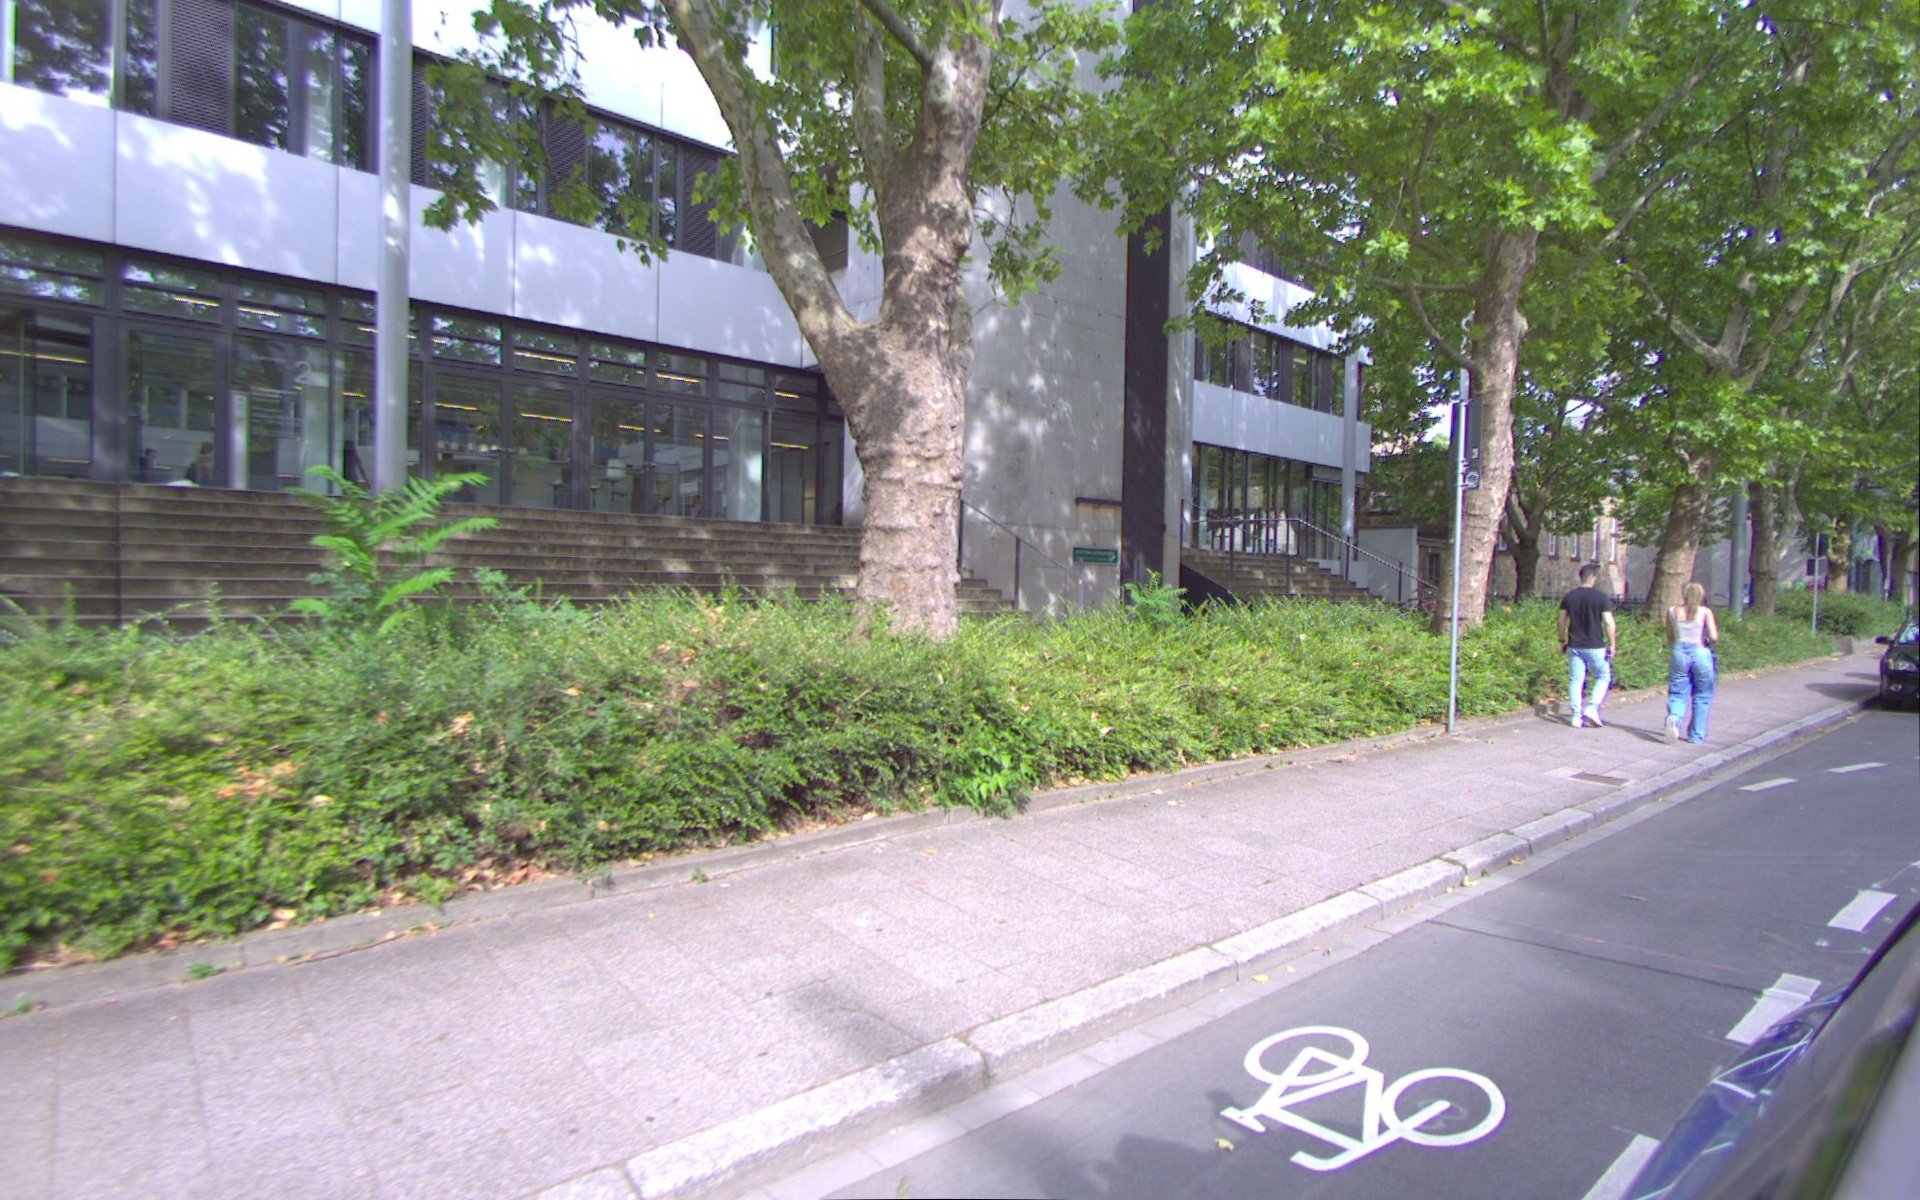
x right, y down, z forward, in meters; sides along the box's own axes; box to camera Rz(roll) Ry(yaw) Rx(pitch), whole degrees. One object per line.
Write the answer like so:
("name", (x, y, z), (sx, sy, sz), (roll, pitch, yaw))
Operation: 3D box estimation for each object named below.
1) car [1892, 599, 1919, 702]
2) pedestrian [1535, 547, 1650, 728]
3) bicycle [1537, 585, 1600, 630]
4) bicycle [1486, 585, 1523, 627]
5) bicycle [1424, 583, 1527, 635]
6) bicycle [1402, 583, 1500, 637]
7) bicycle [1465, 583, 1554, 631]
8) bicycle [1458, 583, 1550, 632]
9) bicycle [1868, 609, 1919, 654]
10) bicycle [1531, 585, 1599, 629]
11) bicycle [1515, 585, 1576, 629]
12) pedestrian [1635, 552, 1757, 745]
("car", (15.423, 0.708, 15.296), (4.348, 1.443, 1.699), (0, 0, -44))
("pedestrian", (6.776, 0.364, 10.832), (1.016, 1.822, 0.716), (0, 3, -42))
("bicycle", (16.688, 0.191, 27.757), (1.378, 1.131, 0.461), (4, 2, 42))
("bicycle", (15.085, 0.152, 28.027), (0.491, 1.131, 1.415), (3, 2, 43))
("bicycle", (12.385, 0.195, 24.356), (0.661, 1.131, 2.083), (0, 2, -40))
("bicycle", (11.383, 0.205, 23.507), (0.661, 1.131, 1.919), (0, 2, -40))
("bicycle", (14.468, 0.165, 26.690), (0.661, 1.131, 1.919), (0, 2, -40))
("bicycle", (13.837, 0.177, 25.781), (0.661, 1.131, 1.919), (0, 2, -40))
("bicycle", (25.202, 0.835, 26.745), (1.763, 1.146, 0.456), (1, 0, 38))
("bicycle", (16.866, 0.183, 28.222), (1.538, 1.131, 0.461), (4, 2, 42))
("bicycle", (15.990, 0.176, 27.655), (1.374, 1.131, 0.505), (3, 2, 35))
("pedestrian", (7.387, 0.443, 10.154), (1.016, 1.805, 0.712), (0, 3, -42))
